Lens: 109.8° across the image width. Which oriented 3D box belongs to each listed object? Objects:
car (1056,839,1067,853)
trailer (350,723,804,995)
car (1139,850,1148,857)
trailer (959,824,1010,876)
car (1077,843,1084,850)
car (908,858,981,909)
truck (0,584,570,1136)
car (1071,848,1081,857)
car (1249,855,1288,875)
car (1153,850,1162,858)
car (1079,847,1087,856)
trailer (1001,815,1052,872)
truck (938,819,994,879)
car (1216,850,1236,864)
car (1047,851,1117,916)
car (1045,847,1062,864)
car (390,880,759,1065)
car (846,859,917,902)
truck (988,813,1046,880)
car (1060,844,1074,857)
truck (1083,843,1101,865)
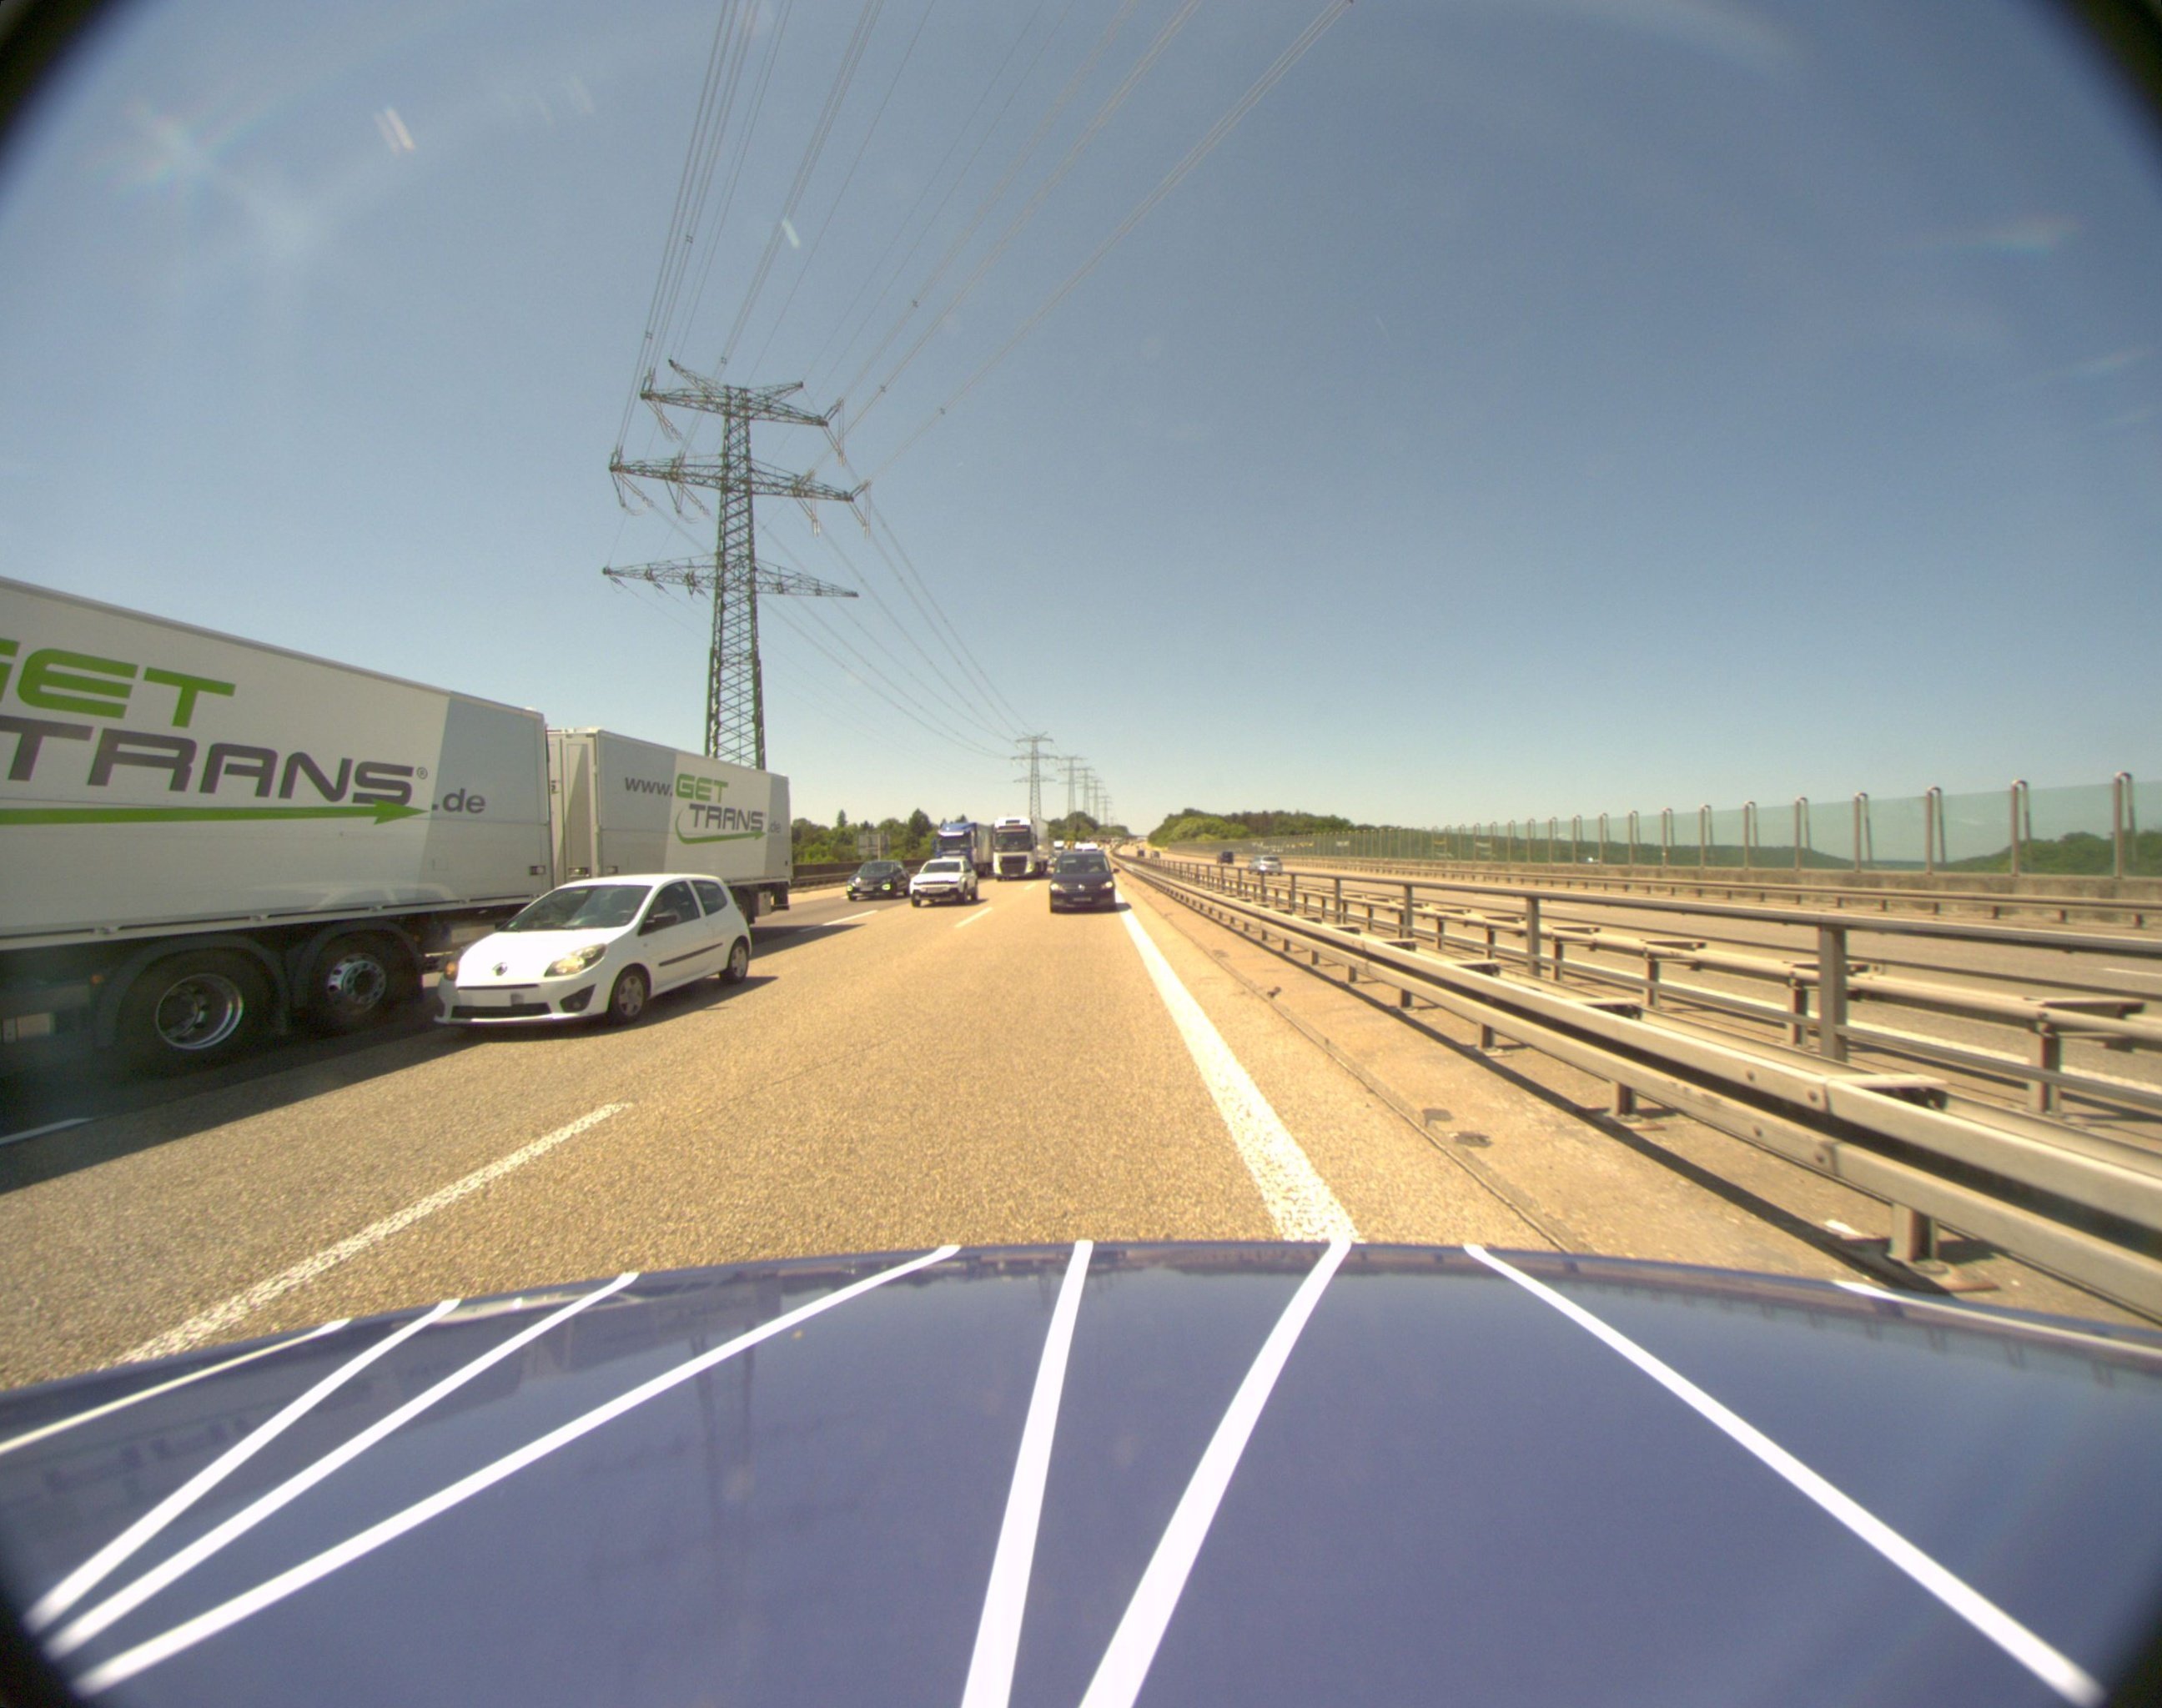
[{"bbox_3d":[-4.669,-1.951,179.502,2.273,3.304,6.288,-2,1,1],"label":"car"},{"bbox_3d":[-8.337,0.051,14.428,2.851,3.573,8.291,-2,0,1],"label":"trailer"},{"bbox_3d":[14.512,-0.177,176.814,1.759,1.711,4.101,0,0,1],"label":"car"},{"bbox_3d":[-7.954,-0.397,63.926,2.543,3.971,10.884,-2,1,1],"label":"trailer"},{"bbox_3d":[-0.255,-2.120,212.228,1.781,2.002,3.999,-2,1,1],"label":"car"},{"bbox_3d":[-4.569,0.949,25.887,1.722,1.526,3.753,-2,0,0],"label":"car"},{"bbox_3d":[-8.441,0.077,4.857,2.858,3.582,10.768,-2,0,0],"label":"truck"},{"bbox_3d":[-0.988,-0.310,154.101,1.701,1.599,3.639,-2,1,1],"label":"car"},{"bbox_3d":[13.747,0.775,55.891,1.915,1.386,4.164,0,1,1],"label":"car"},{"bbox_3d":[16.243,0.058,161.456,1.759,1.538,3.999,1,1,1],"label":"car"},{"bbox_3d":[0.455,-0.699,188.566,1.890,2.002,3.999,-2,1,1],"label":"car"},{"bbox_3d":[-3.937,-0.794,57.381,2.898,3.847,9.773,-2,1,1],"label":"trailer"},{"bbox_3d":[-8.118,-0.337,54.526,2.517,3.945,7.927,-2,0,1],"label":"truck"},{"bbox_3d":[19.258,0.358,100.778,1.787,1.774,4.301,-1,1,0],"label":"car"},{"bbox_3d":[0.043,0.737,21.303,1.739,1.607,3.911,-2,0,0],"label":"car"},{"bbox_3d":[-3.017,0.110,84.055,1.672,1.761,3.846,-2,1,1],"label":"car"},{"bbox_3d":[-5.202,1.101,8.464,1.583,1.432,3.629,-2,0,1],"label":"car"},{"bbox_3d":[-7.965,1.013,30.694,1.709,1.497,3.888,-2,0,1],"label":"car"},{"bbox_3d":[-4.011,-0.508,49.137,2.914,3.870,6.739,-2,1,1],"label":"truck"},{"bbox_3d":[-2.244,-0.627,121.248,1.998,2.002,3.999,-2,1,1],"label":"car"},{"bbox_3d":[1.393,-0.039,96.916,2.100,2.700,5.864,-2,1,1],"label":"truck"}]
